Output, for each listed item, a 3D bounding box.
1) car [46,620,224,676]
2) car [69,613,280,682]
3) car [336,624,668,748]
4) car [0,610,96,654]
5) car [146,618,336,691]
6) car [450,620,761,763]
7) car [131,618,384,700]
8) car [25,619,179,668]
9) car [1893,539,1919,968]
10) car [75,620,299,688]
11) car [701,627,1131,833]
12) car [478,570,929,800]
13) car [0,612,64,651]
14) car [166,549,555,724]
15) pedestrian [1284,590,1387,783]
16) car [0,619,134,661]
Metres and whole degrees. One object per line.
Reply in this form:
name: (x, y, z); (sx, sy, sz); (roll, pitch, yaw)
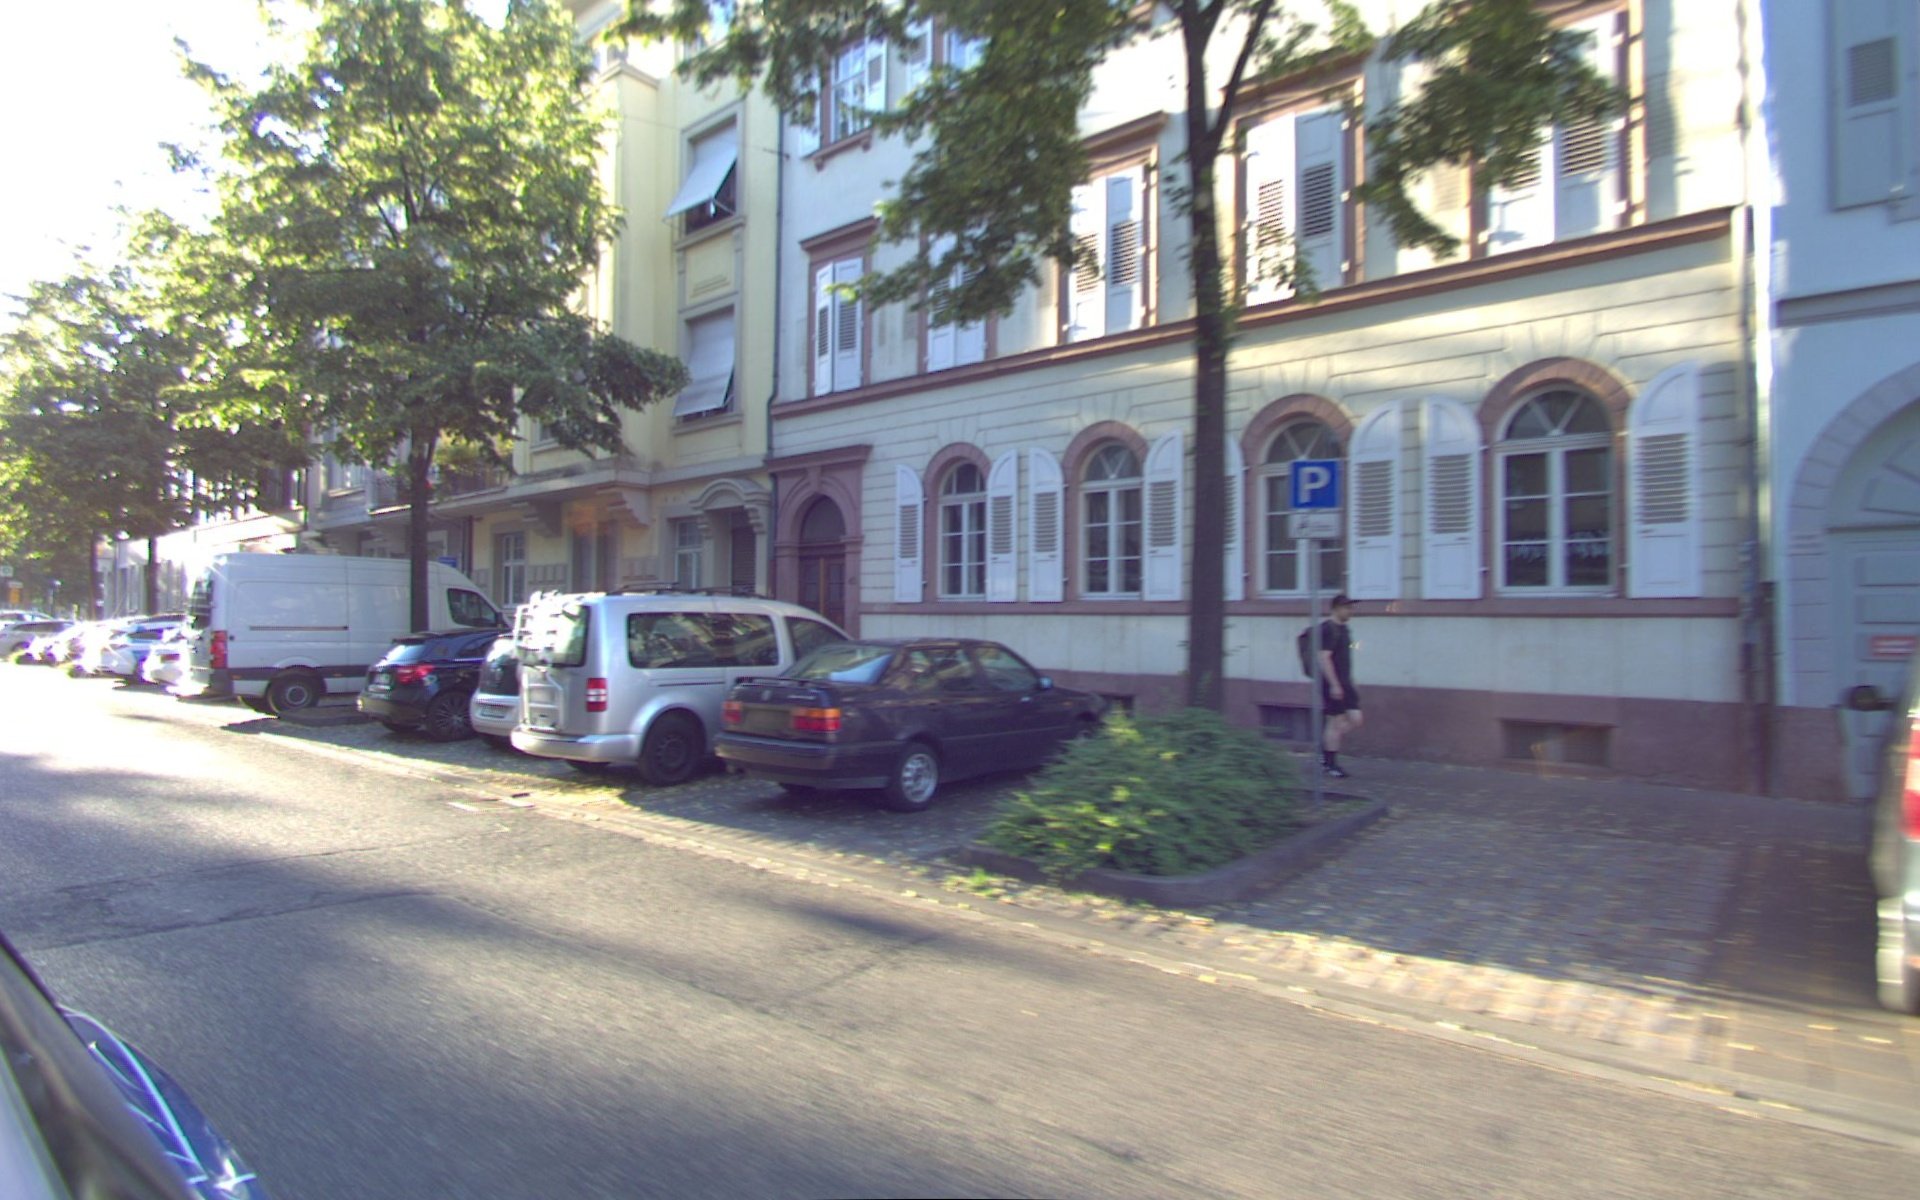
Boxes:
car: (-24.789, 1.386, 30.503); (1.694, 1.459, 3.878); (-1, 0, 37)
car: (-21.210, 1.226, 27.492); (1.889, 1.663, 4.193); (-1, -1, 36)
car: (-6.340, 1.092, 14.369); (1.748, 1.414, 3.948); (0, 0, 39)
car: (-40.395, 1.361, 43.528); (2.052, 1.825, 4.658); (-1, -1, 41)
car: (-16.853, 1.210, 23.796); (1.847, 1.521, 3.370); (-1, -1, 43)
car: (-4.360, 1.034, 12.806); (1.710, 1.478, 3.339); (-1, -1, 36)
car: (-15.065, 1.202, 21.885); (1.791, 1.518, 4.170); (-1, -1, 40)
car: (-28.677, 1.402, 33.907); (1.789, 1.459, 3.744); (-1, 0, 42)
car: (5.398, 0.709, 4.441); (1.806, 1.820, 4.094); (-1, -2, 42)
car: (-19.295, 1.284, 25.399); (1.968, 1.494, 4.144); (-1, -1, 39)
car: (-0.194, 0.993, 9.382); (1.593, 1.450, 4.108); (-1, -2, 41)
car: (-2.560, 0.768, 10.988); (1.918, 1.968, 4.451); (-1, -2, 42)
car: (-45.527, 1.470, 47.843); (1.945, 1.796, 4.510); (0, -1, 39)
car: (-10.452, 0.551, 18.106); (2.170, 2.641, 5.601); (-1, -1, 40)
pedestrian: (3.733, 0.824, 10.056); (0.779, 1.815, 0.655); (-1, -2, 40)
car: (-34.340, 1.484, 38.432); (1.821, 1.434, 4.338); (-1, -1, 40)
